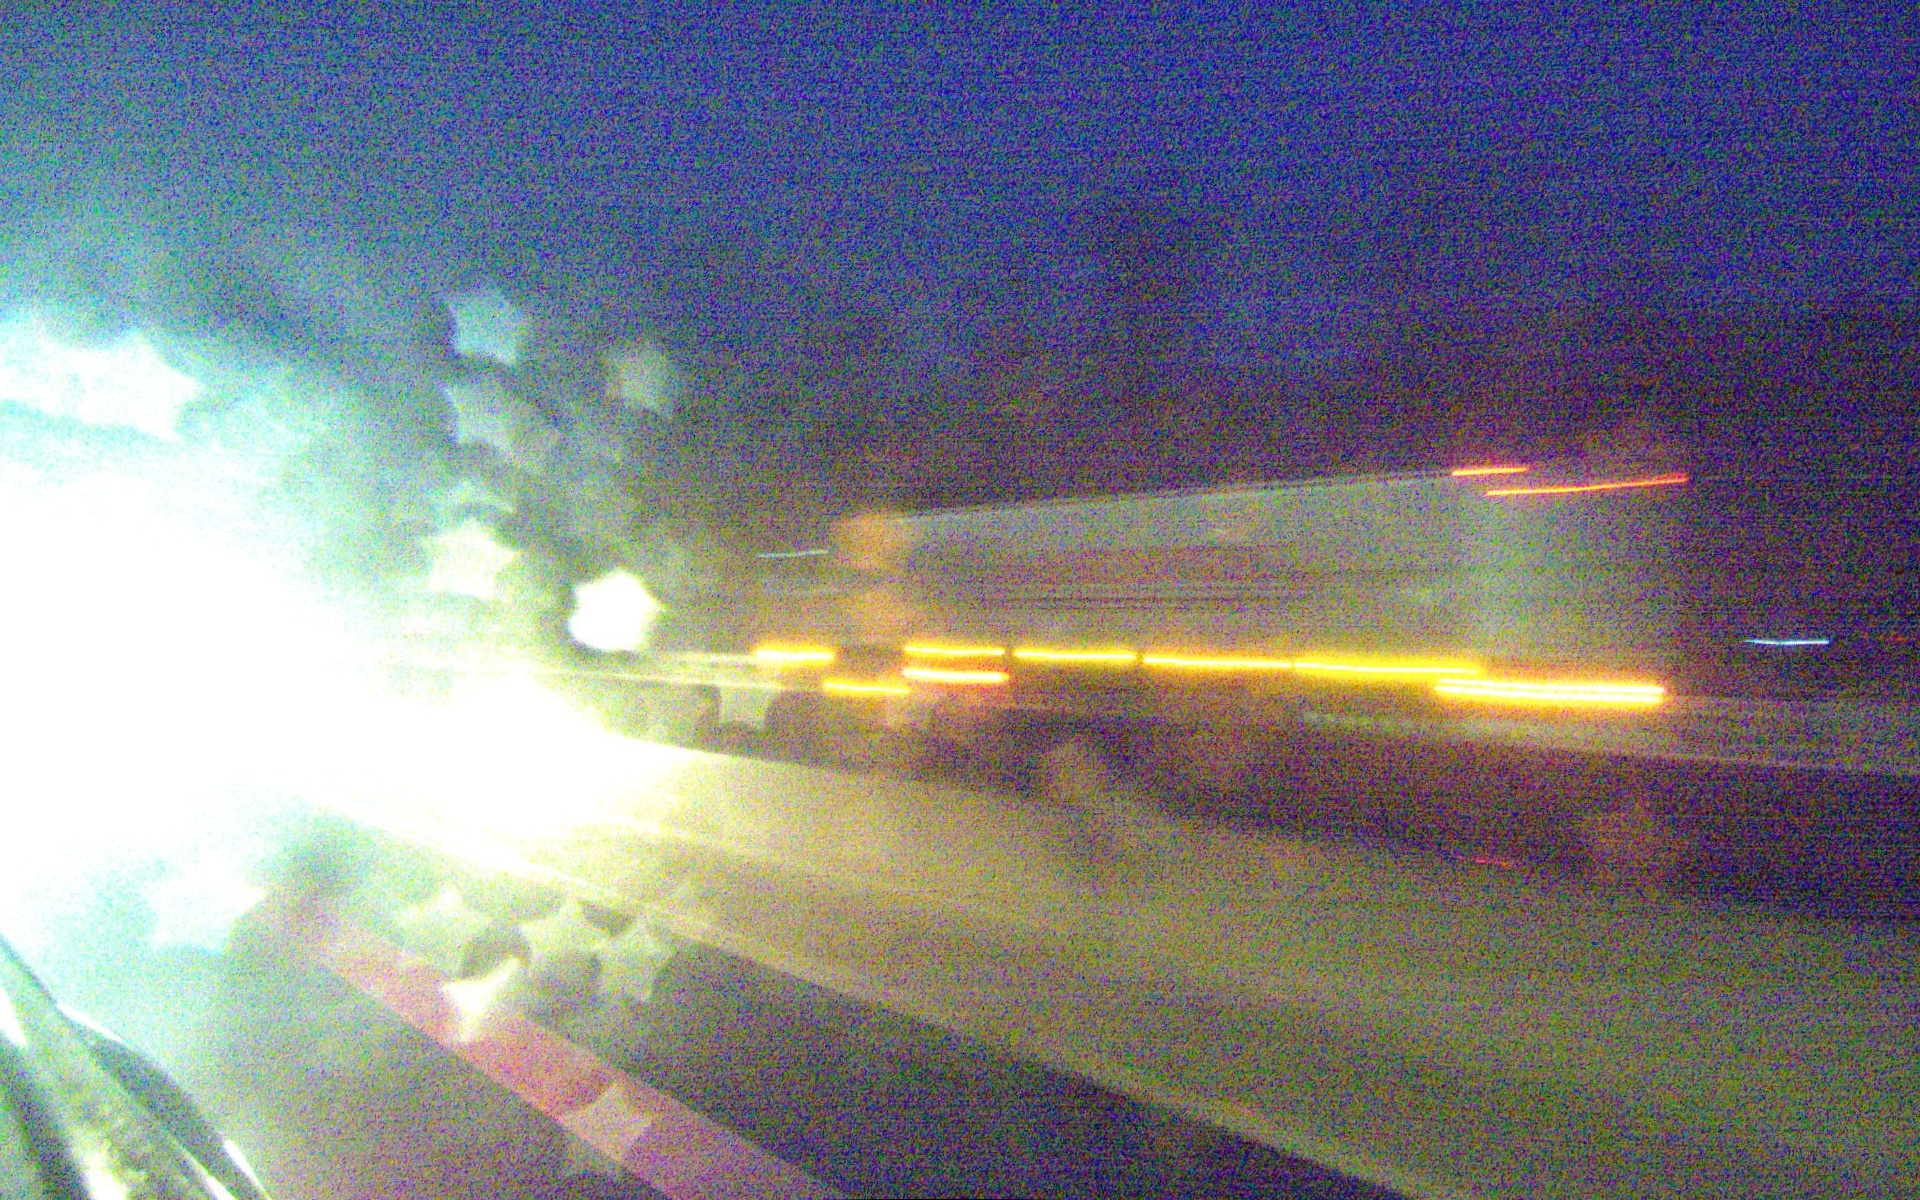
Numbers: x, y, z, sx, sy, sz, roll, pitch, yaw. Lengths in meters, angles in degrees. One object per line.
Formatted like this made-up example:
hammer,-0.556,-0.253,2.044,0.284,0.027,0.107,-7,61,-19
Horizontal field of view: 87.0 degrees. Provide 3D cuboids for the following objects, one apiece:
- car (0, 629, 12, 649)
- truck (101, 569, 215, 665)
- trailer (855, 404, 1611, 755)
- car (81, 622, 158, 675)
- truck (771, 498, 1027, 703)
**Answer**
car,-103.852,4.200,109.070,3.998,2.029,1.973,-1,1,41
truck,-56.778,1.044,71.384,16.617,6.149,3.294,0,1,41
trailer,3.731,-0.248,18.711,13.715,4.579,2.595,-1,1,41
car,-34.231,1.925,41.179,3.996,2.029,1.726,-1,-1,40
truck,-1.509,0.011,23.328,5.676,4.143,2.578,-1,1,41
